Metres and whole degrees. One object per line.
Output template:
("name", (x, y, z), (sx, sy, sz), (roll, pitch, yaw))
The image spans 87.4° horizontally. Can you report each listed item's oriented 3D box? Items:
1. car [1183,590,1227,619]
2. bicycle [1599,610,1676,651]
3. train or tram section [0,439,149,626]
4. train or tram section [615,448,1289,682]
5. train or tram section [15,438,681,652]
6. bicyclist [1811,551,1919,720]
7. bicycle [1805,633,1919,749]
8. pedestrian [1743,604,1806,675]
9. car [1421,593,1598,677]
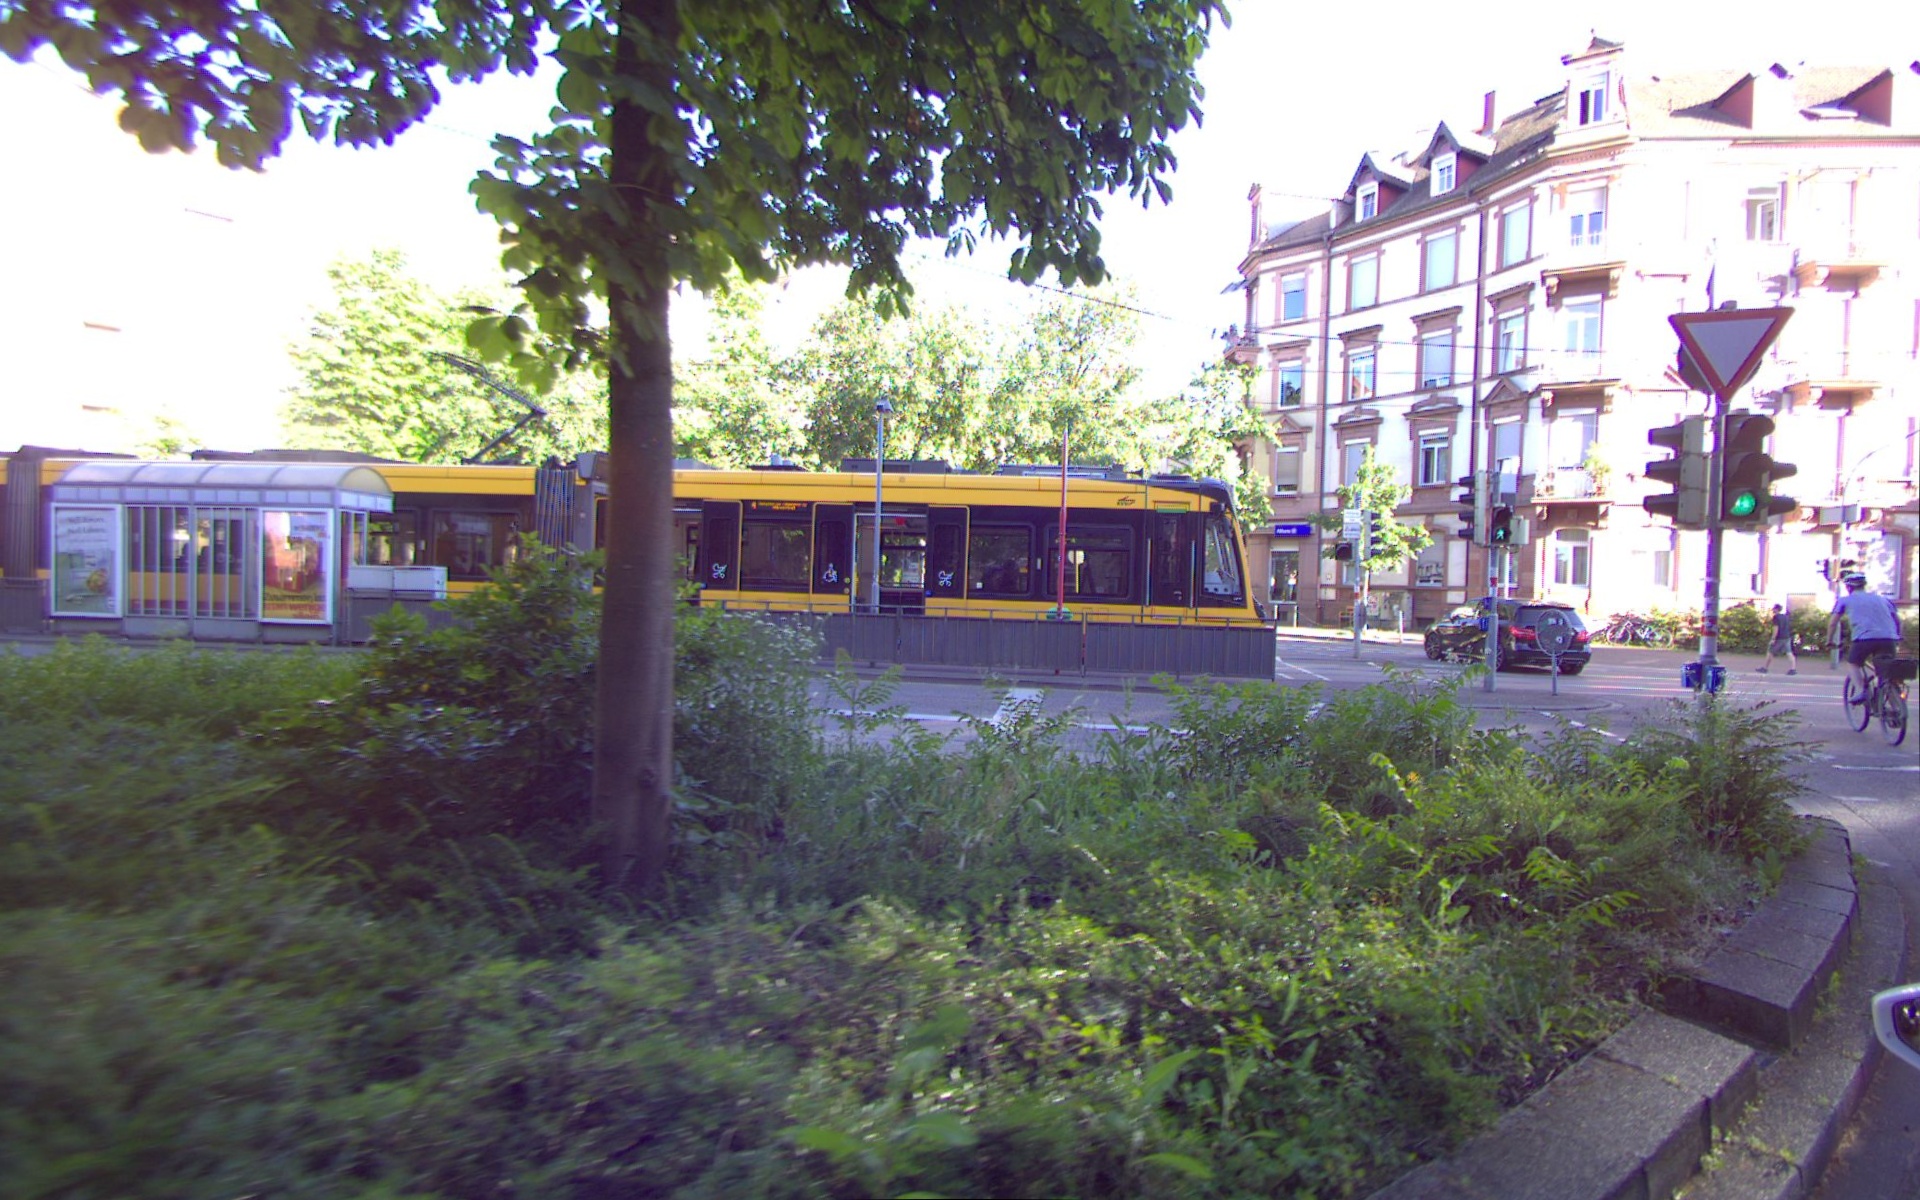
("car", (13.296, 0.223, 54.406), (1.478, 1.477, 3.202), (3, 1, 28))
("bicycle", (21.365, 0.942, 31.708), (1.938, 1.122, 0.441), (4, 3, 41))
("train or tram section", (-24.219, -1.523, 21.474), (12.425, 3.605, 2.775), (2, 1, 7))
("train or tram section", (-0.213, -0.692, 18.649), (11.561, 3.668, 2.802), (2, 1, 7))
("train or tram section", (-11.999, -1.104, 20.031), (12.168, 3.635, 2.788), (2, 1, 7))
("bicyclist", (10.906, 0.399, 12.138), (0.783, 1.939, 0.942), (3, 1, 35))
("bicycle", (10.886, 1.035, 12.126), (0.799, 1.200, 2.220), (2, 1, 35))
("pedestrian", (19.782, 0.941, 24.407), (0.715, 1.657, 0.899), (0, 3, -24))
("car", (11.983, 0.699, 22.223), (1.760, 1.563, 3.859), (0, 2, 0))
